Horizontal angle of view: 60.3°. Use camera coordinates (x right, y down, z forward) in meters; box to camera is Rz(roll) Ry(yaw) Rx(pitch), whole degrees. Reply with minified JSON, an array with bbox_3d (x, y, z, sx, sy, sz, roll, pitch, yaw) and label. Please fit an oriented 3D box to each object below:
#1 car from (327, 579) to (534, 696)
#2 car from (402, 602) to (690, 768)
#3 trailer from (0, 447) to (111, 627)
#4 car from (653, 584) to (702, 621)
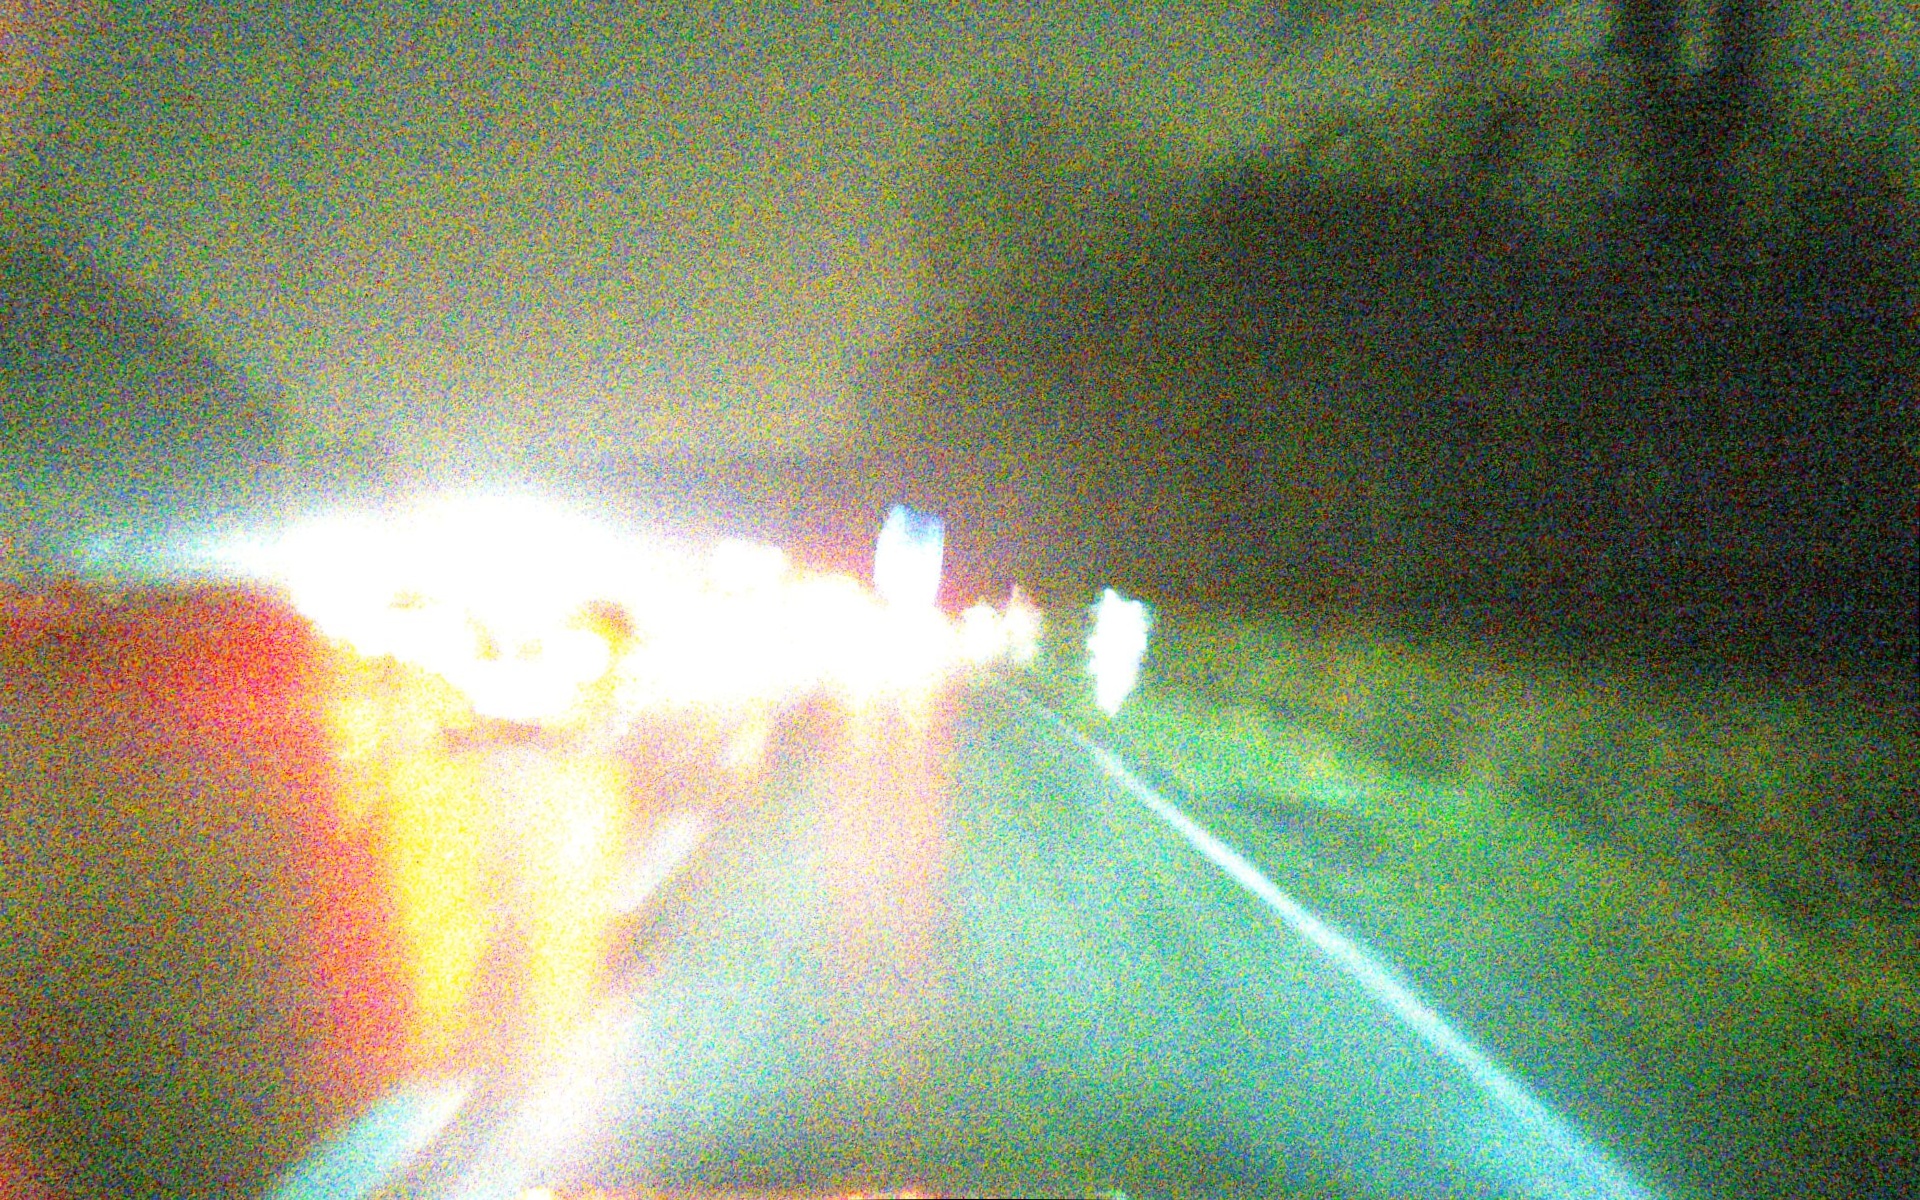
[{"bbox_3d":[-7.770,0.497,24.770,1.732,1.543,4.912,1,0,-3],"label":"car"},{"bbox_3d":[-4.008,0.774,16.727,1.922,1.405,4.048,2,-1,-1],"label":"car"},{"bbox_3d":[-20.073,-1.264,32.026,2.558,3.533,10.436,1,0,-5],"label":"trailer"},{"bbox_3d":[-12.792,0.131,75.146,1.856,1.577,3.995,1,0,-6],"label":"car"}]
